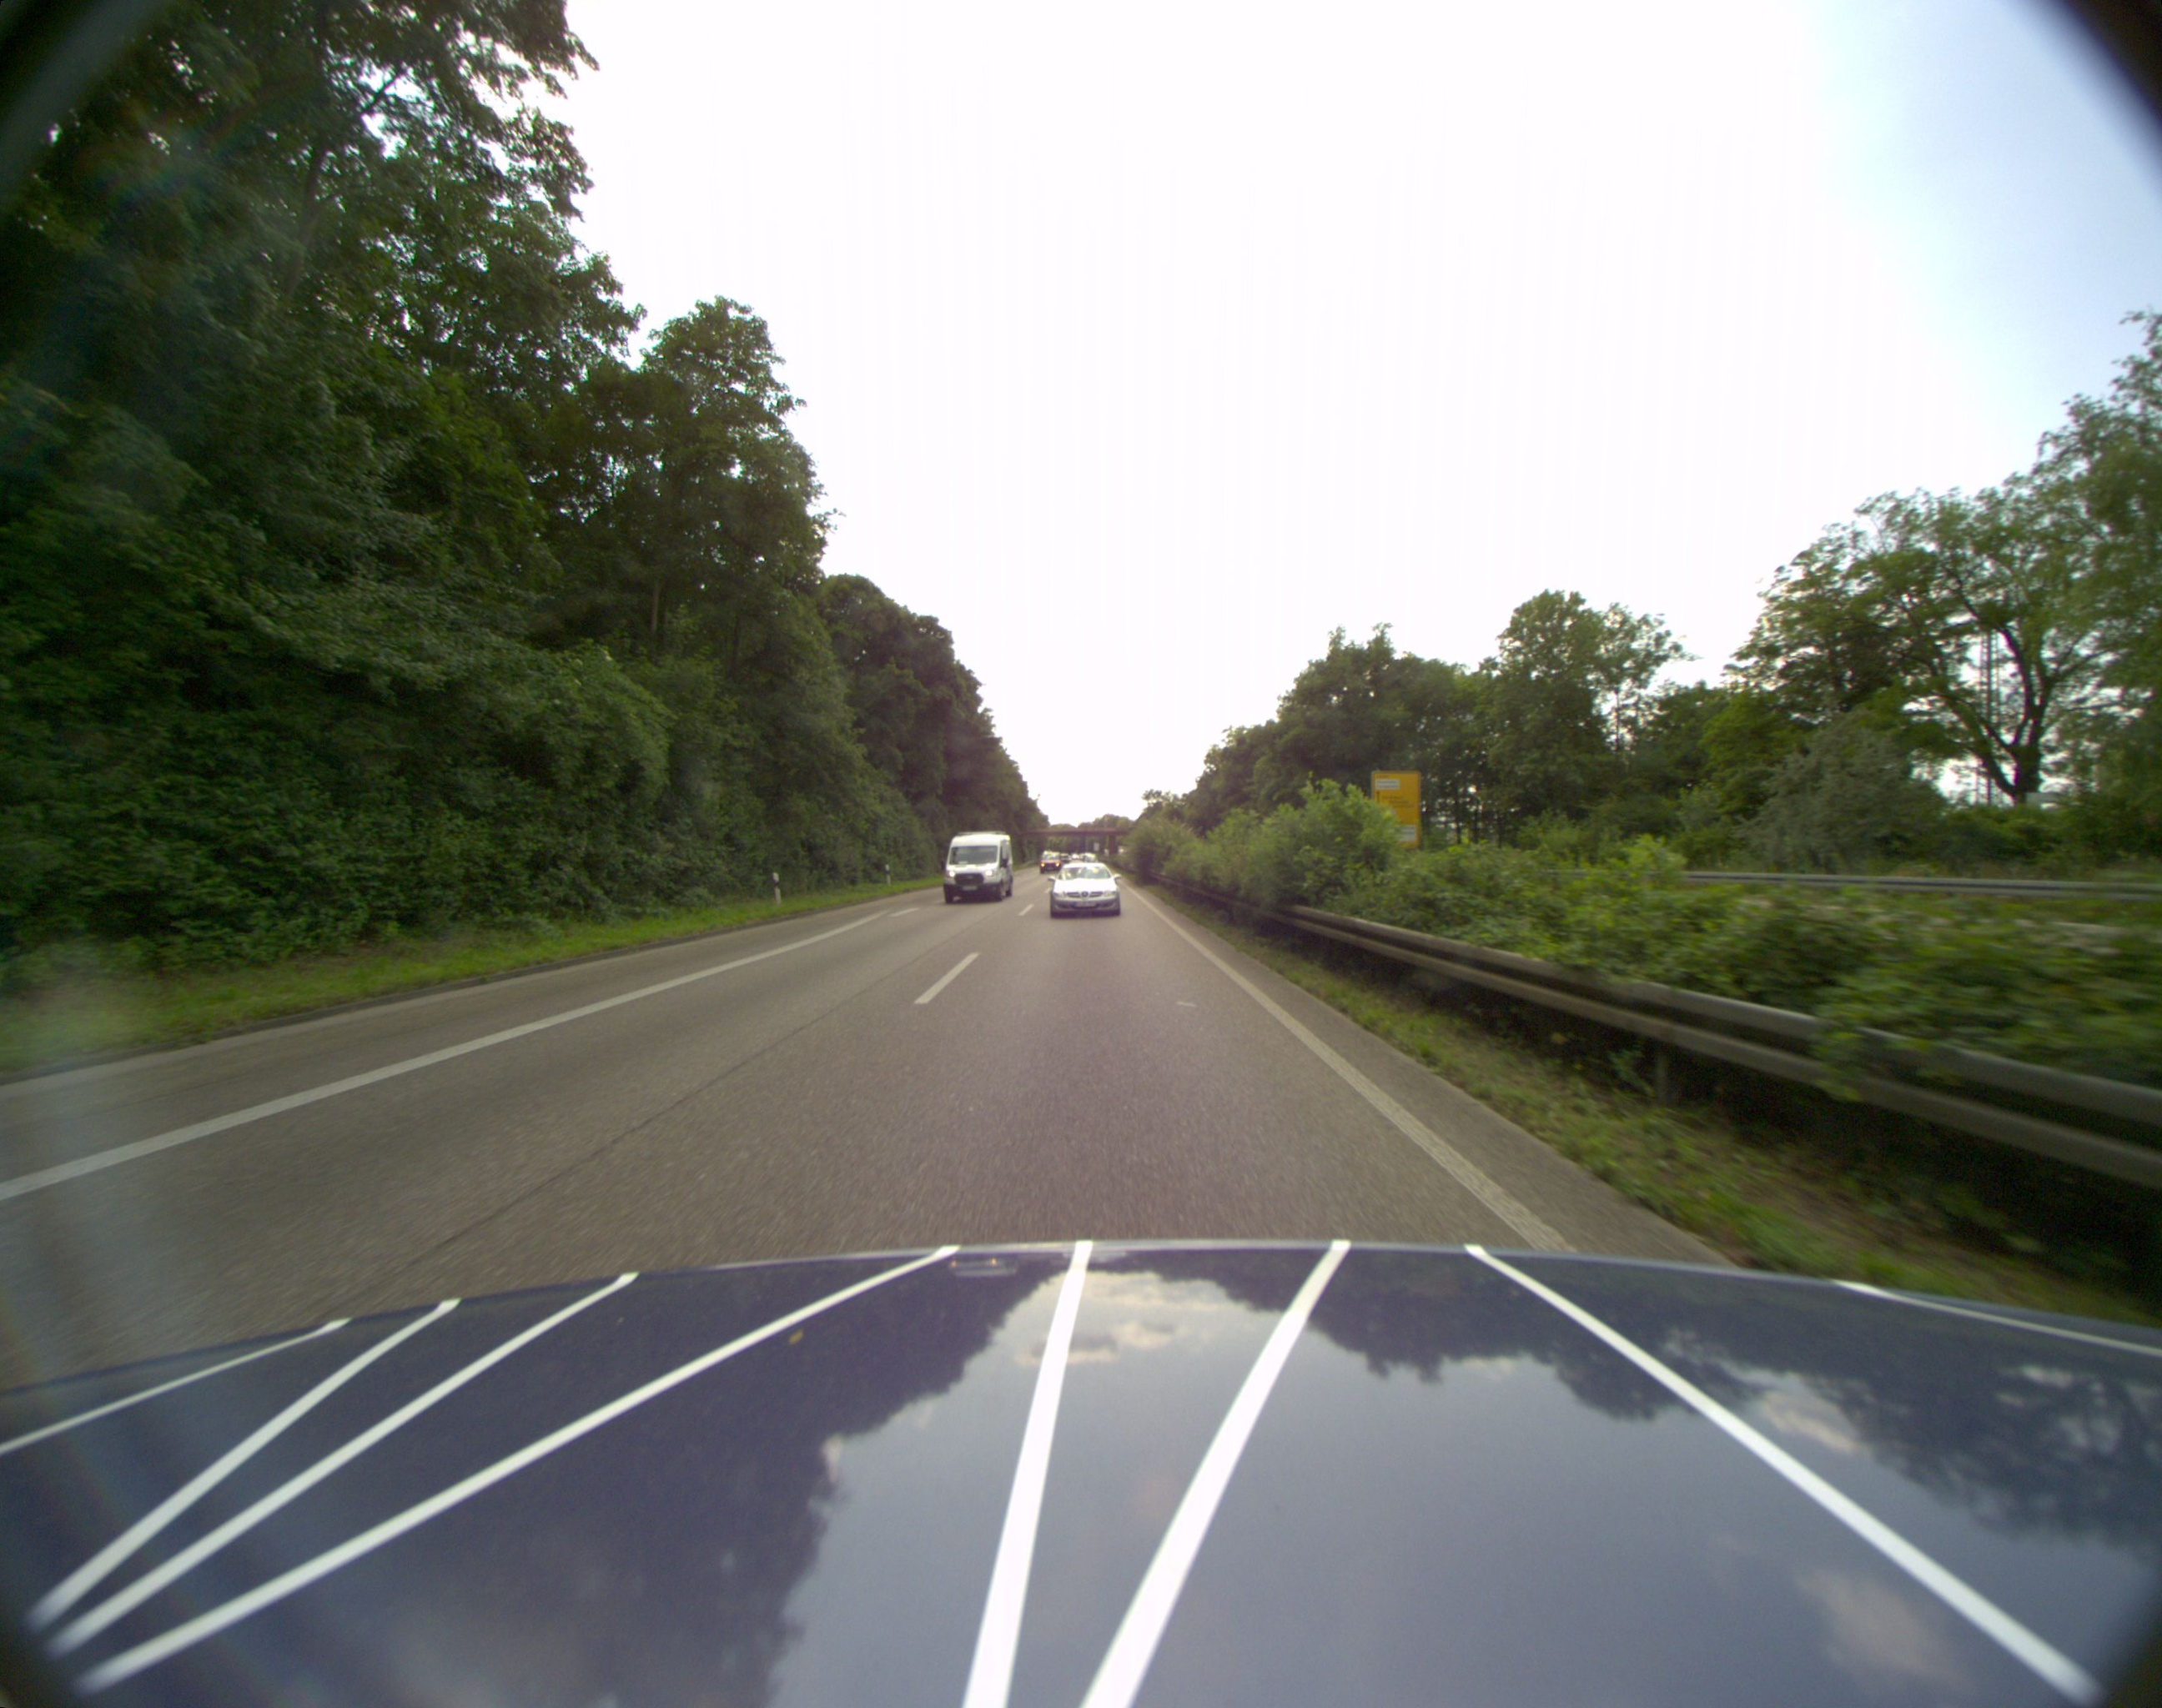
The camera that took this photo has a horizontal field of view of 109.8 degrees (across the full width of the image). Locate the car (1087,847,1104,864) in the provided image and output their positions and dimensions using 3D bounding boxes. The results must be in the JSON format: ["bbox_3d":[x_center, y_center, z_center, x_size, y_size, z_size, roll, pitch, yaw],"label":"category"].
[{"bbox_3d":[1.762,0.206,93.460,1.998,2.002,4.000,-1,0,1],"label":"car"}]

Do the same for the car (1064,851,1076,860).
[{"bbox_3d":[-1.972,0.265,134.257,1.889,1.516,4.000,-1,0,1],"label":"car"}]

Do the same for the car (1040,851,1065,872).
[{"bbox_3d":[-2.531,0.635,68.743,1.908,1.795,4.395,-2,0,2],"label":"car"}]

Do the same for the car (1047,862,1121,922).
[{"bbox_3d":[0.078,0.952,20.932,1.751,1.295,5.223,-2,0,0],"label":"car"}]

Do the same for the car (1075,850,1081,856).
[{"bbox_3d":[-0.923,-0.339,236.480,1.998,2.002,4.000,-1,0,1],"label":"car"}]

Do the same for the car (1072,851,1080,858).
[{"bbox_3d":[-1.101,0.122,168.730,1.887,1.577,4.000,-1,0,1],"label":"car"}]

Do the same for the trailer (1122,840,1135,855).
[{"bbox_3d":[13.016,-1.831,209.405,3.067,4.019,9.974,-1,0,2],"label":"trailer"}]

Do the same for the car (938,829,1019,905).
[{"bbox_3d":[-3.680,0.420,28.310,2.104,2.493,5.279,-2,0,1],"label":"car"}]

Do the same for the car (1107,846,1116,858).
[{"bbox_3d":[8.402,-0.556,211.749,2.294,3.214,7.286,0,0,1],"label":"car"}]
